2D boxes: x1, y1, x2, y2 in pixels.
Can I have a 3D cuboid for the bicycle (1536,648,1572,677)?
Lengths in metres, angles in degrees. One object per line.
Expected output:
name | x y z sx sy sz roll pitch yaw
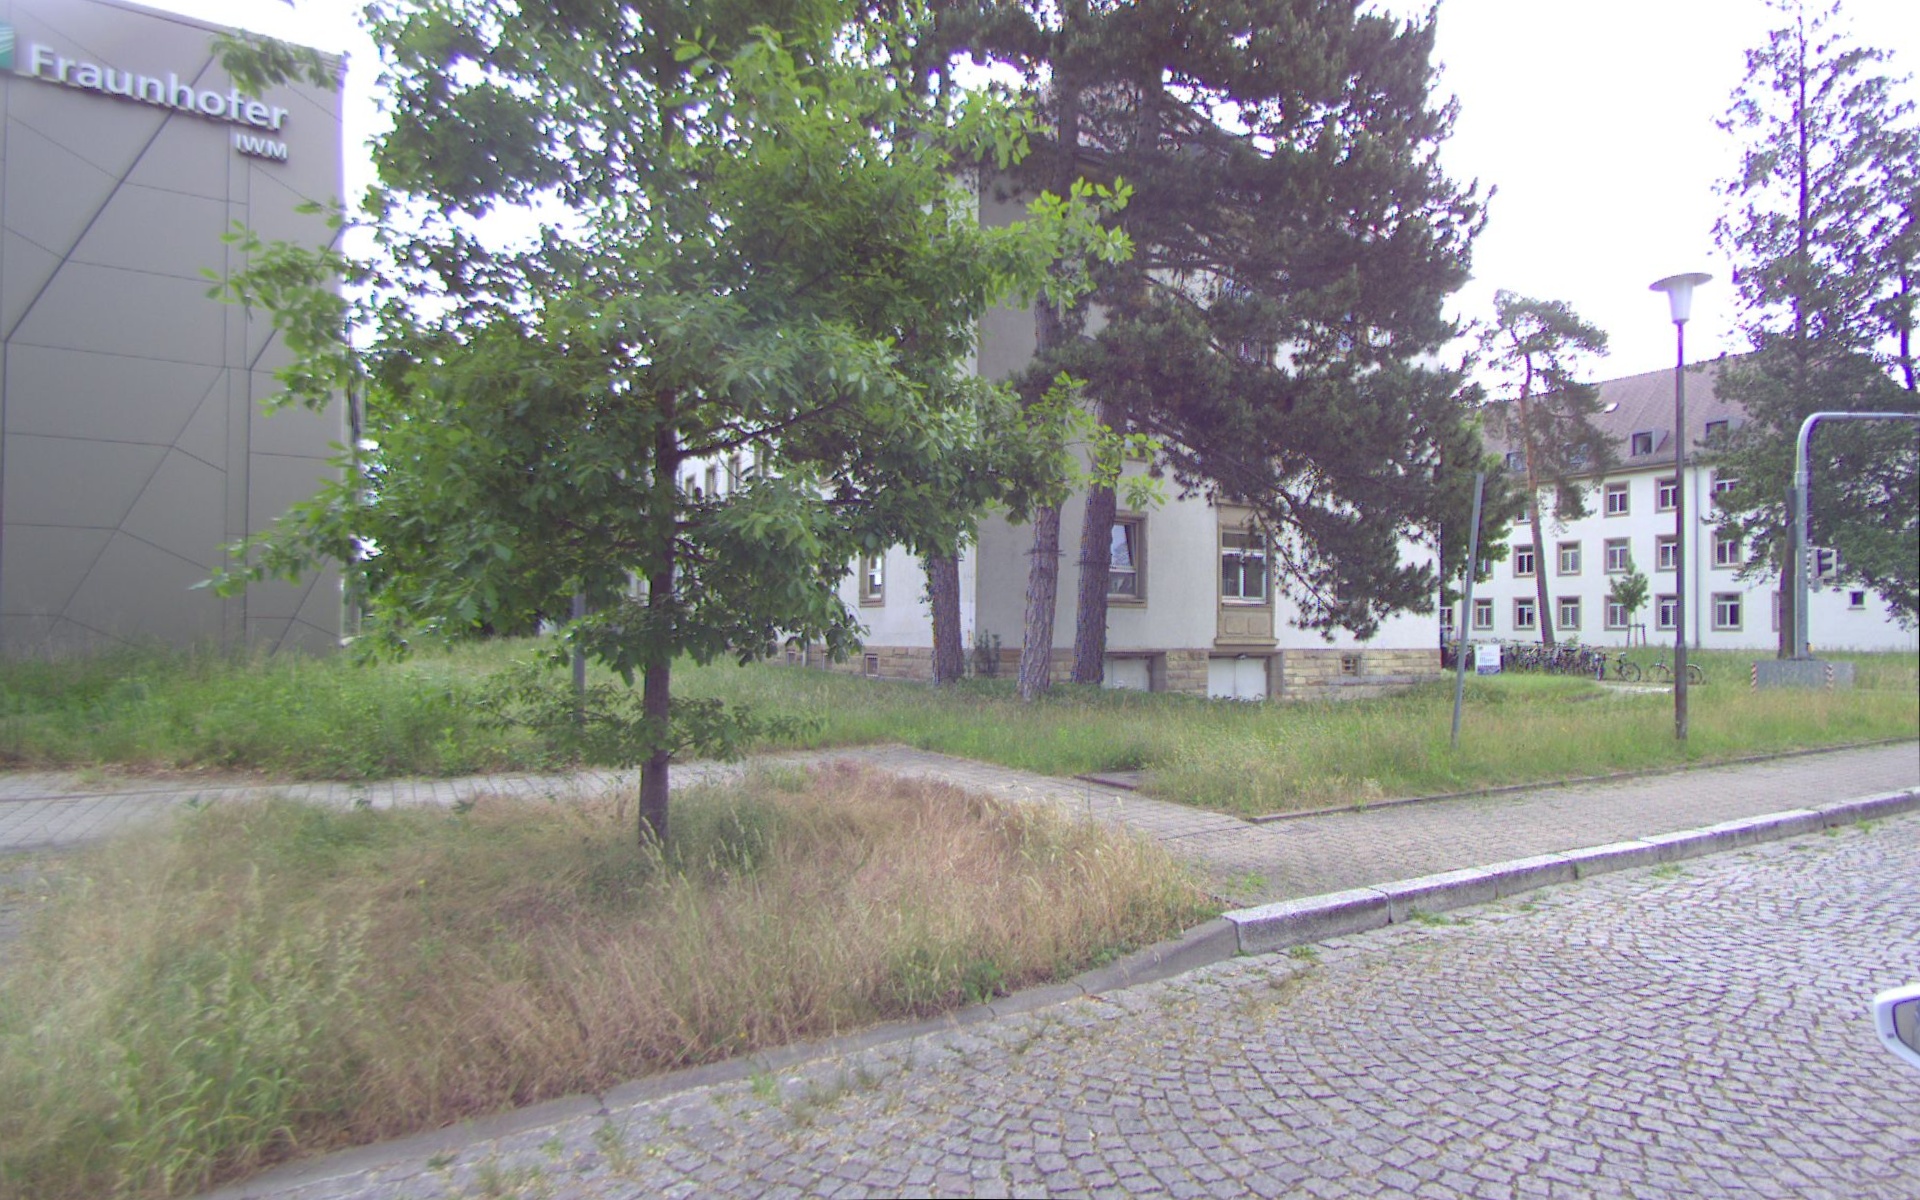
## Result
bicycle | 22.913 2.415 38.740 1.567 1.093 0.512 2 -2 -31

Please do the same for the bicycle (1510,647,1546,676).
bicycle | 22.379 2.421 39.573 1.567 1.093 0.512 2 -2 -31

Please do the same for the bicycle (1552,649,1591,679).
bicycle | 23.189 2.415 38.084 1.566 1.093 0.512 2 -2 -28

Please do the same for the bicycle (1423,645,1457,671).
bicycle | 20.474 2.484 42.835 1.567 1.093 0.512 2 -2 -31

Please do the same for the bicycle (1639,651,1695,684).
bicycle | 24.116 2.290 34.283 0.510 1.079 1.457 2 -3 -32

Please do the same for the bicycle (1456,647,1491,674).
bicycle | 21.214 2.483 41.499 1.567 1.093 0.512 2 -2 -31

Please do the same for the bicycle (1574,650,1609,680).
bicycle | 23.604 2.421 37.546 1.569 1.093 0.511 2 -3 -34

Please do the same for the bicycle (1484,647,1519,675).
bicycle | 21.815 2.441 40.484 1.567 1.093 0.512 2 -2 -31

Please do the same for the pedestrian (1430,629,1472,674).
pedestrian | 20.367 2.121 41.683 1.135 1.812 1.064 -1 -1 -3

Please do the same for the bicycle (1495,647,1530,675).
bicycle | 22.048 2.440 40.098 1.567 1.093 0.512 2 -2 -31

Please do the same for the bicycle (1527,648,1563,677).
bicycle | 22.736 2.414 39.053 1.567 1.093 0.512 2 -2 -31

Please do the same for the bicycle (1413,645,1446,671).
bicycle | 20.214 2.481 43.261 1.567 1.093 0.512 2 -2 -31

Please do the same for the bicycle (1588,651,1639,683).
bicycle | 23.153 2.353 35.606 0.510 1.093 1.457 2 -3 -32
